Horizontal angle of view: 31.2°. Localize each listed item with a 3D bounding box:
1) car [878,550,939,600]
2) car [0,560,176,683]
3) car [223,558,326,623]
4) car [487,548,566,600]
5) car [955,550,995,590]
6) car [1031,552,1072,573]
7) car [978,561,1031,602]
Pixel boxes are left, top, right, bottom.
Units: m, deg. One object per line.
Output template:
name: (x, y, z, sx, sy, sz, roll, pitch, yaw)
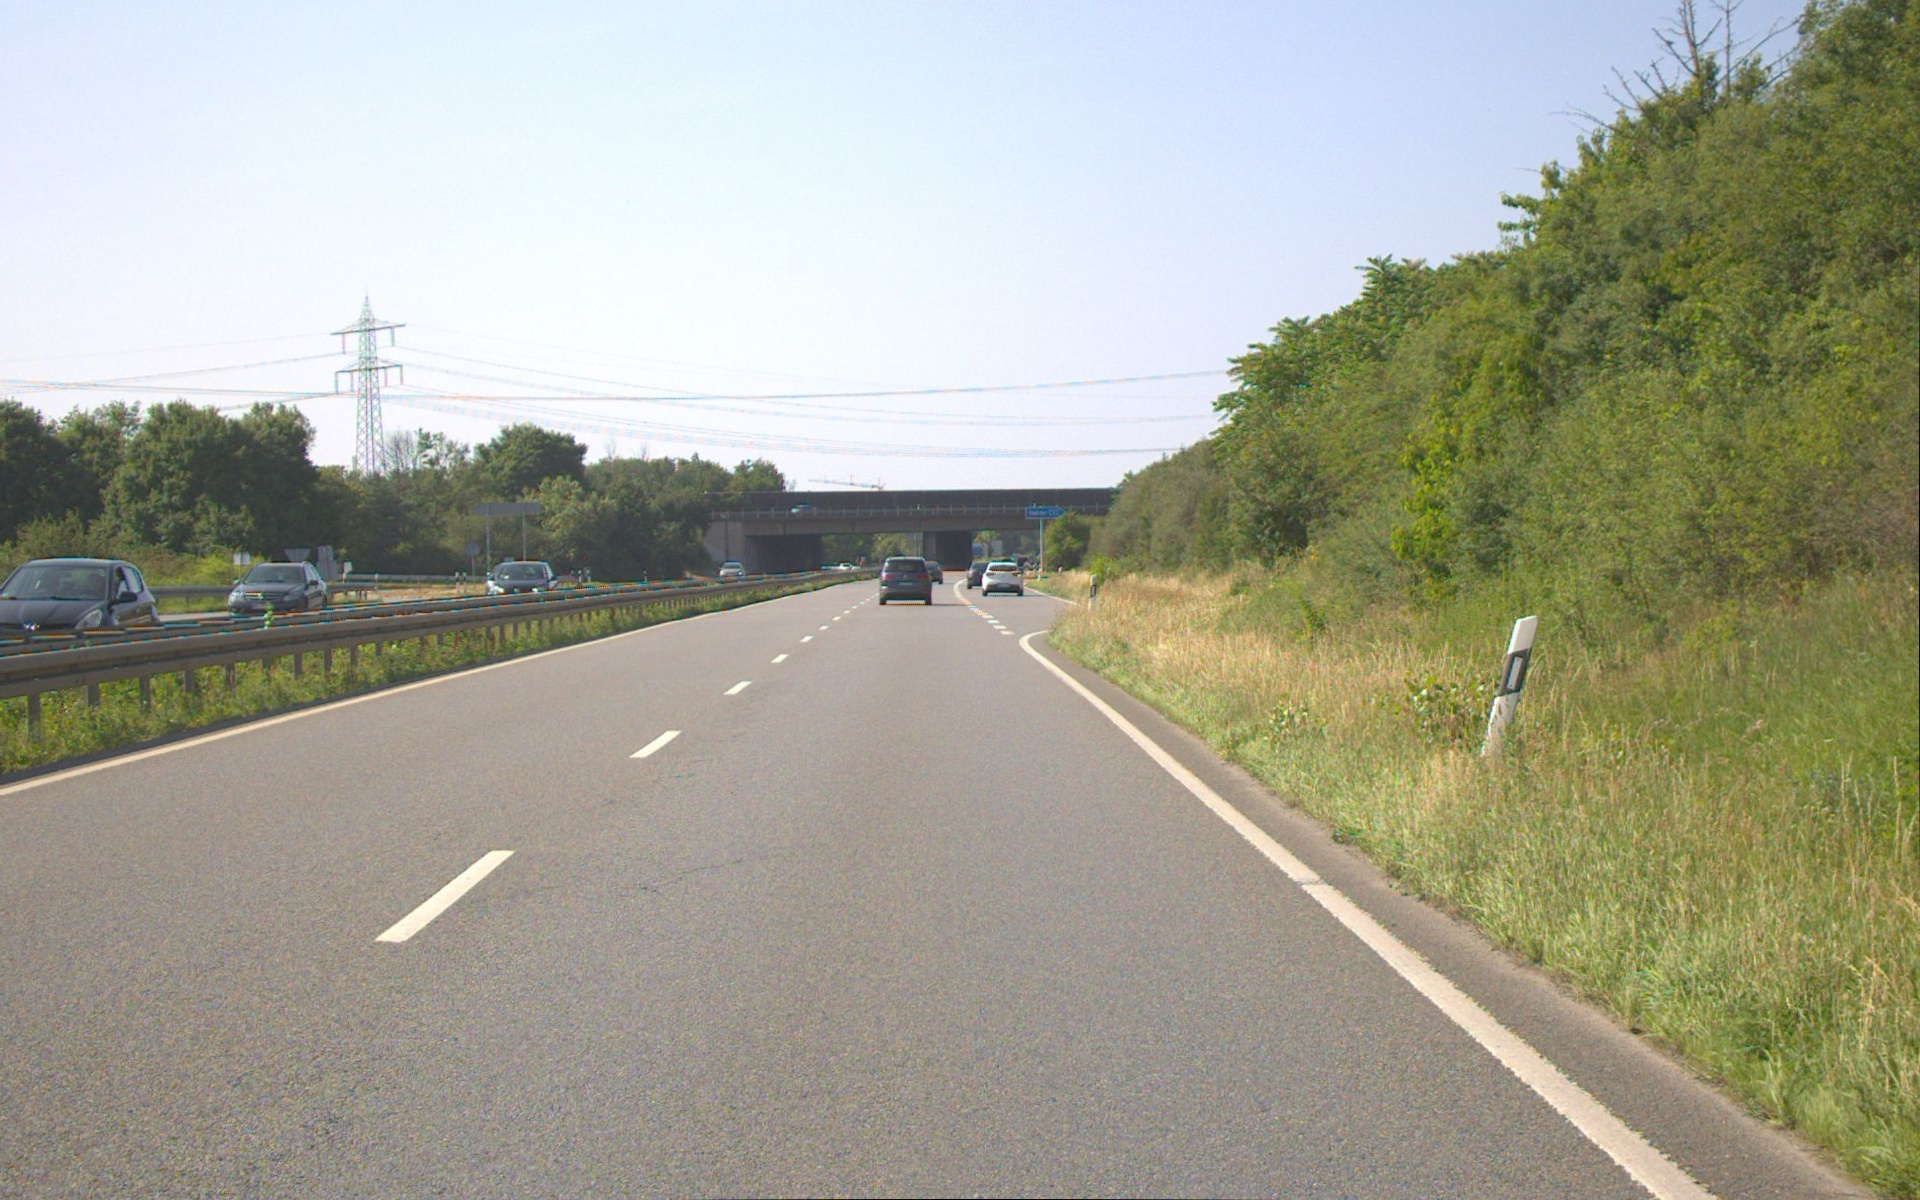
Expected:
car: (-1.744, -0.845, 116.954, 1.850, 1.639, 4.000, -1, 1, 2)
car: (-11.411, 0.237, 44.127, 1.712, 1.465, 4.416, 1, 1, -1)
car: (-16.214, -0.247, 81.496, 1.713, 1.445, 4.324, -1, 1, -2)
car: (-12.727, -0.788, 101.133, 1.814, 1.468, 4.324, 1, 1, -1)
car: (0.787, -1.615, 182.920, 1.993, 2.007, 4.000, -3, 1, -1)
car: (5.983, -2.457, 224.215, 1.903, 1.293, 3.998, 1, 1, 13)
car: (1.915, -0.801, 147.511, 1.797, 1.659, 3.999, 1, 1, 7)
